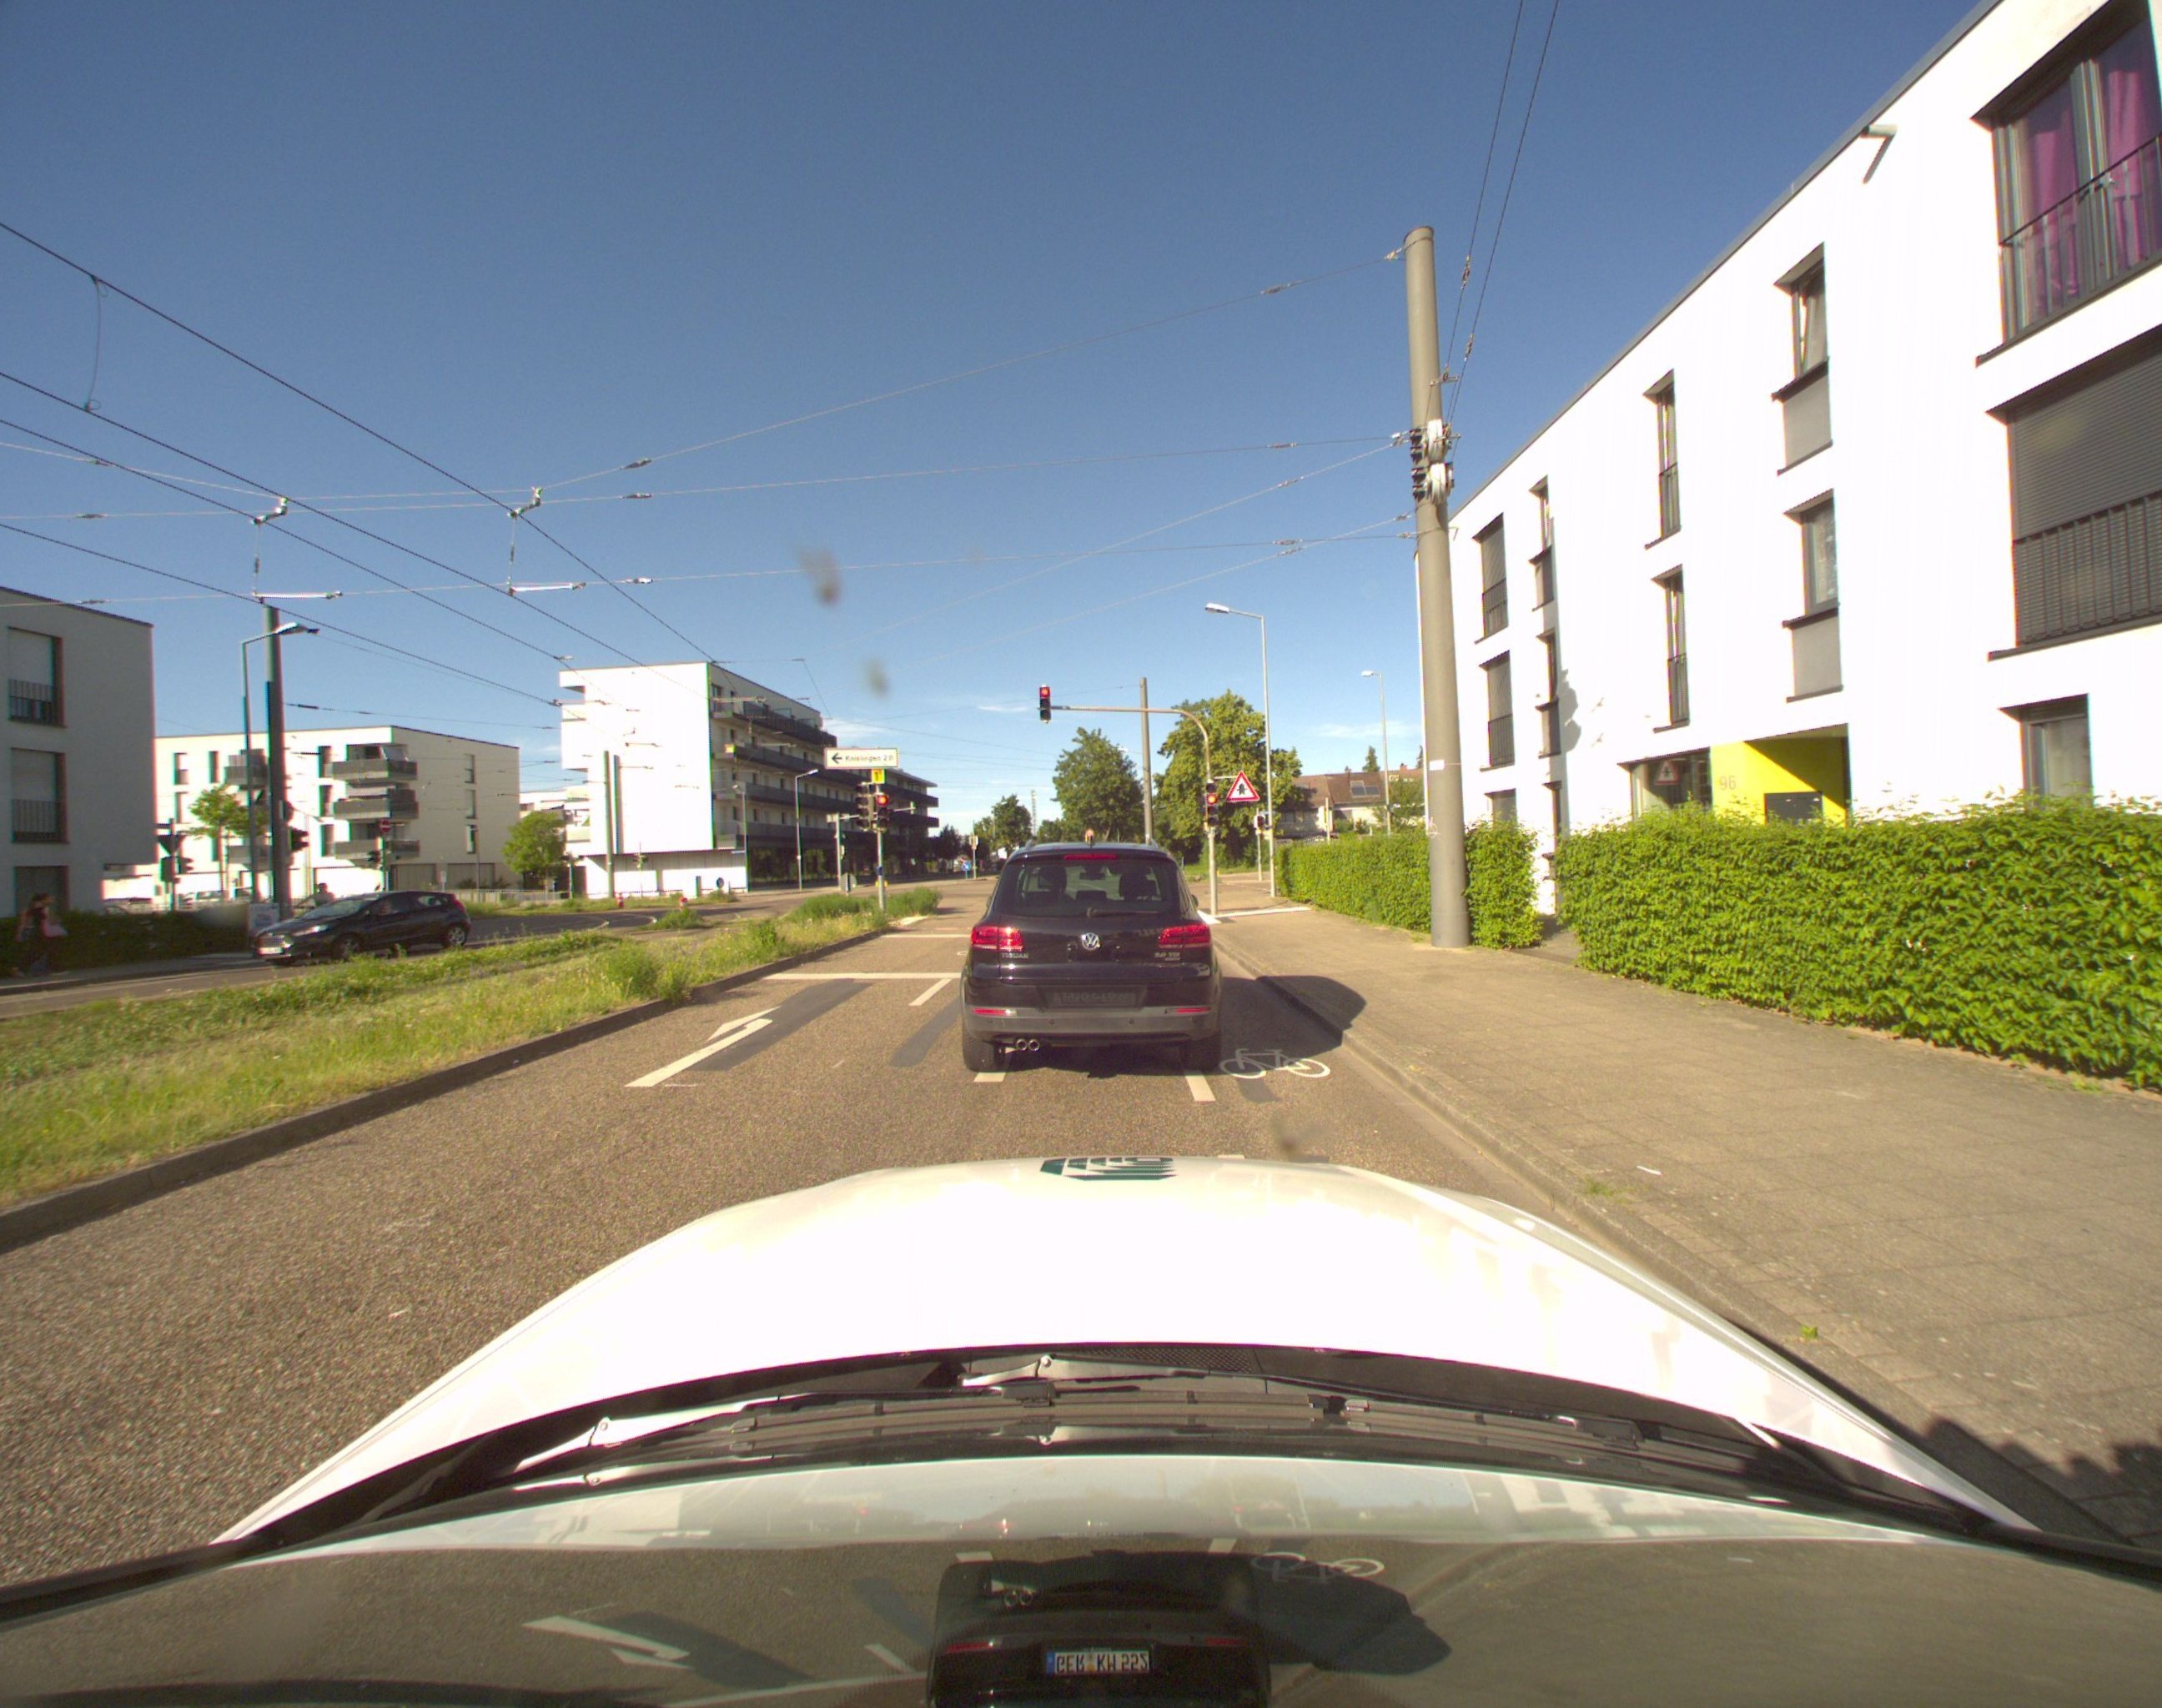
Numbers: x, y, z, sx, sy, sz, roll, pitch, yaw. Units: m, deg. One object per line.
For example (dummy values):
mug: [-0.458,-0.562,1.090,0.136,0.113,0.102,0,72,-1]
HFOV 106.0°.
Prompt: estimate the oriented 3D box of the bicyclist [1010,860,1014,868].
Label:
bicyclist: [-10.421,1.528,123.002,0.472,1.223,0.713,-1,0,5]

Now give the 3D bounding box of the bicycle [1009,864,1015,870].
bicycle: [-10.418,1.945,123.072,0.493,0.848,2.082,-1,0,6]

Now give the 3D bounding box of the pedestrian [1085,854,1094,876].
pedestrian: [0.620,0.799,60.316,0.600,1.640,0.530,-1,0,6]

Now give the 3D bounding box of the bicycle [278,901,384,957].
bicycle: [-19.898,1.952,21.703,0.794,1.221,2.691,-1,0,-12]

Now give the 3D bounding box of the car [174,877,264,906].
car: [-58.716,2.525,55.502,3.974,1.838,2.000,-1,0,0]

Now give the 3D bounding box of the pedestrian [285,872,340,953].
pedestrian: [-19.758,1.485,20.946,0.761,2.013,0.667,-1,0,-12]

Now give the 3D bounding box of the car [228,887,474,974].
car: [-15.901,1.597,18.038,1.693,1.430,3.749,-4,0,8]

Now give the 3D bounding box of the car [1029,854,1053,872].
car: [-3.319,0.734,68.571,1.745,1.387,4.000,-1,0,0]

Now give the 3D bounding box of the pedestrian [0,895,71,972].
pedestrian: [-21.120,1.584,16.423,0.555,1.464,0.743,-1,0,3]

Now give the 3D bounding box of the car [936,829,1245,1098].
car: [0.080,0.681,7.084,1.899,1.643,4.000,-1,0,0]

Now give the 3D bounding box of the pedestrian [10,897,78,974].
pedestrian: [-20.596,1.601,16.184,0.555,1.464,0.612,-1,0,3]
